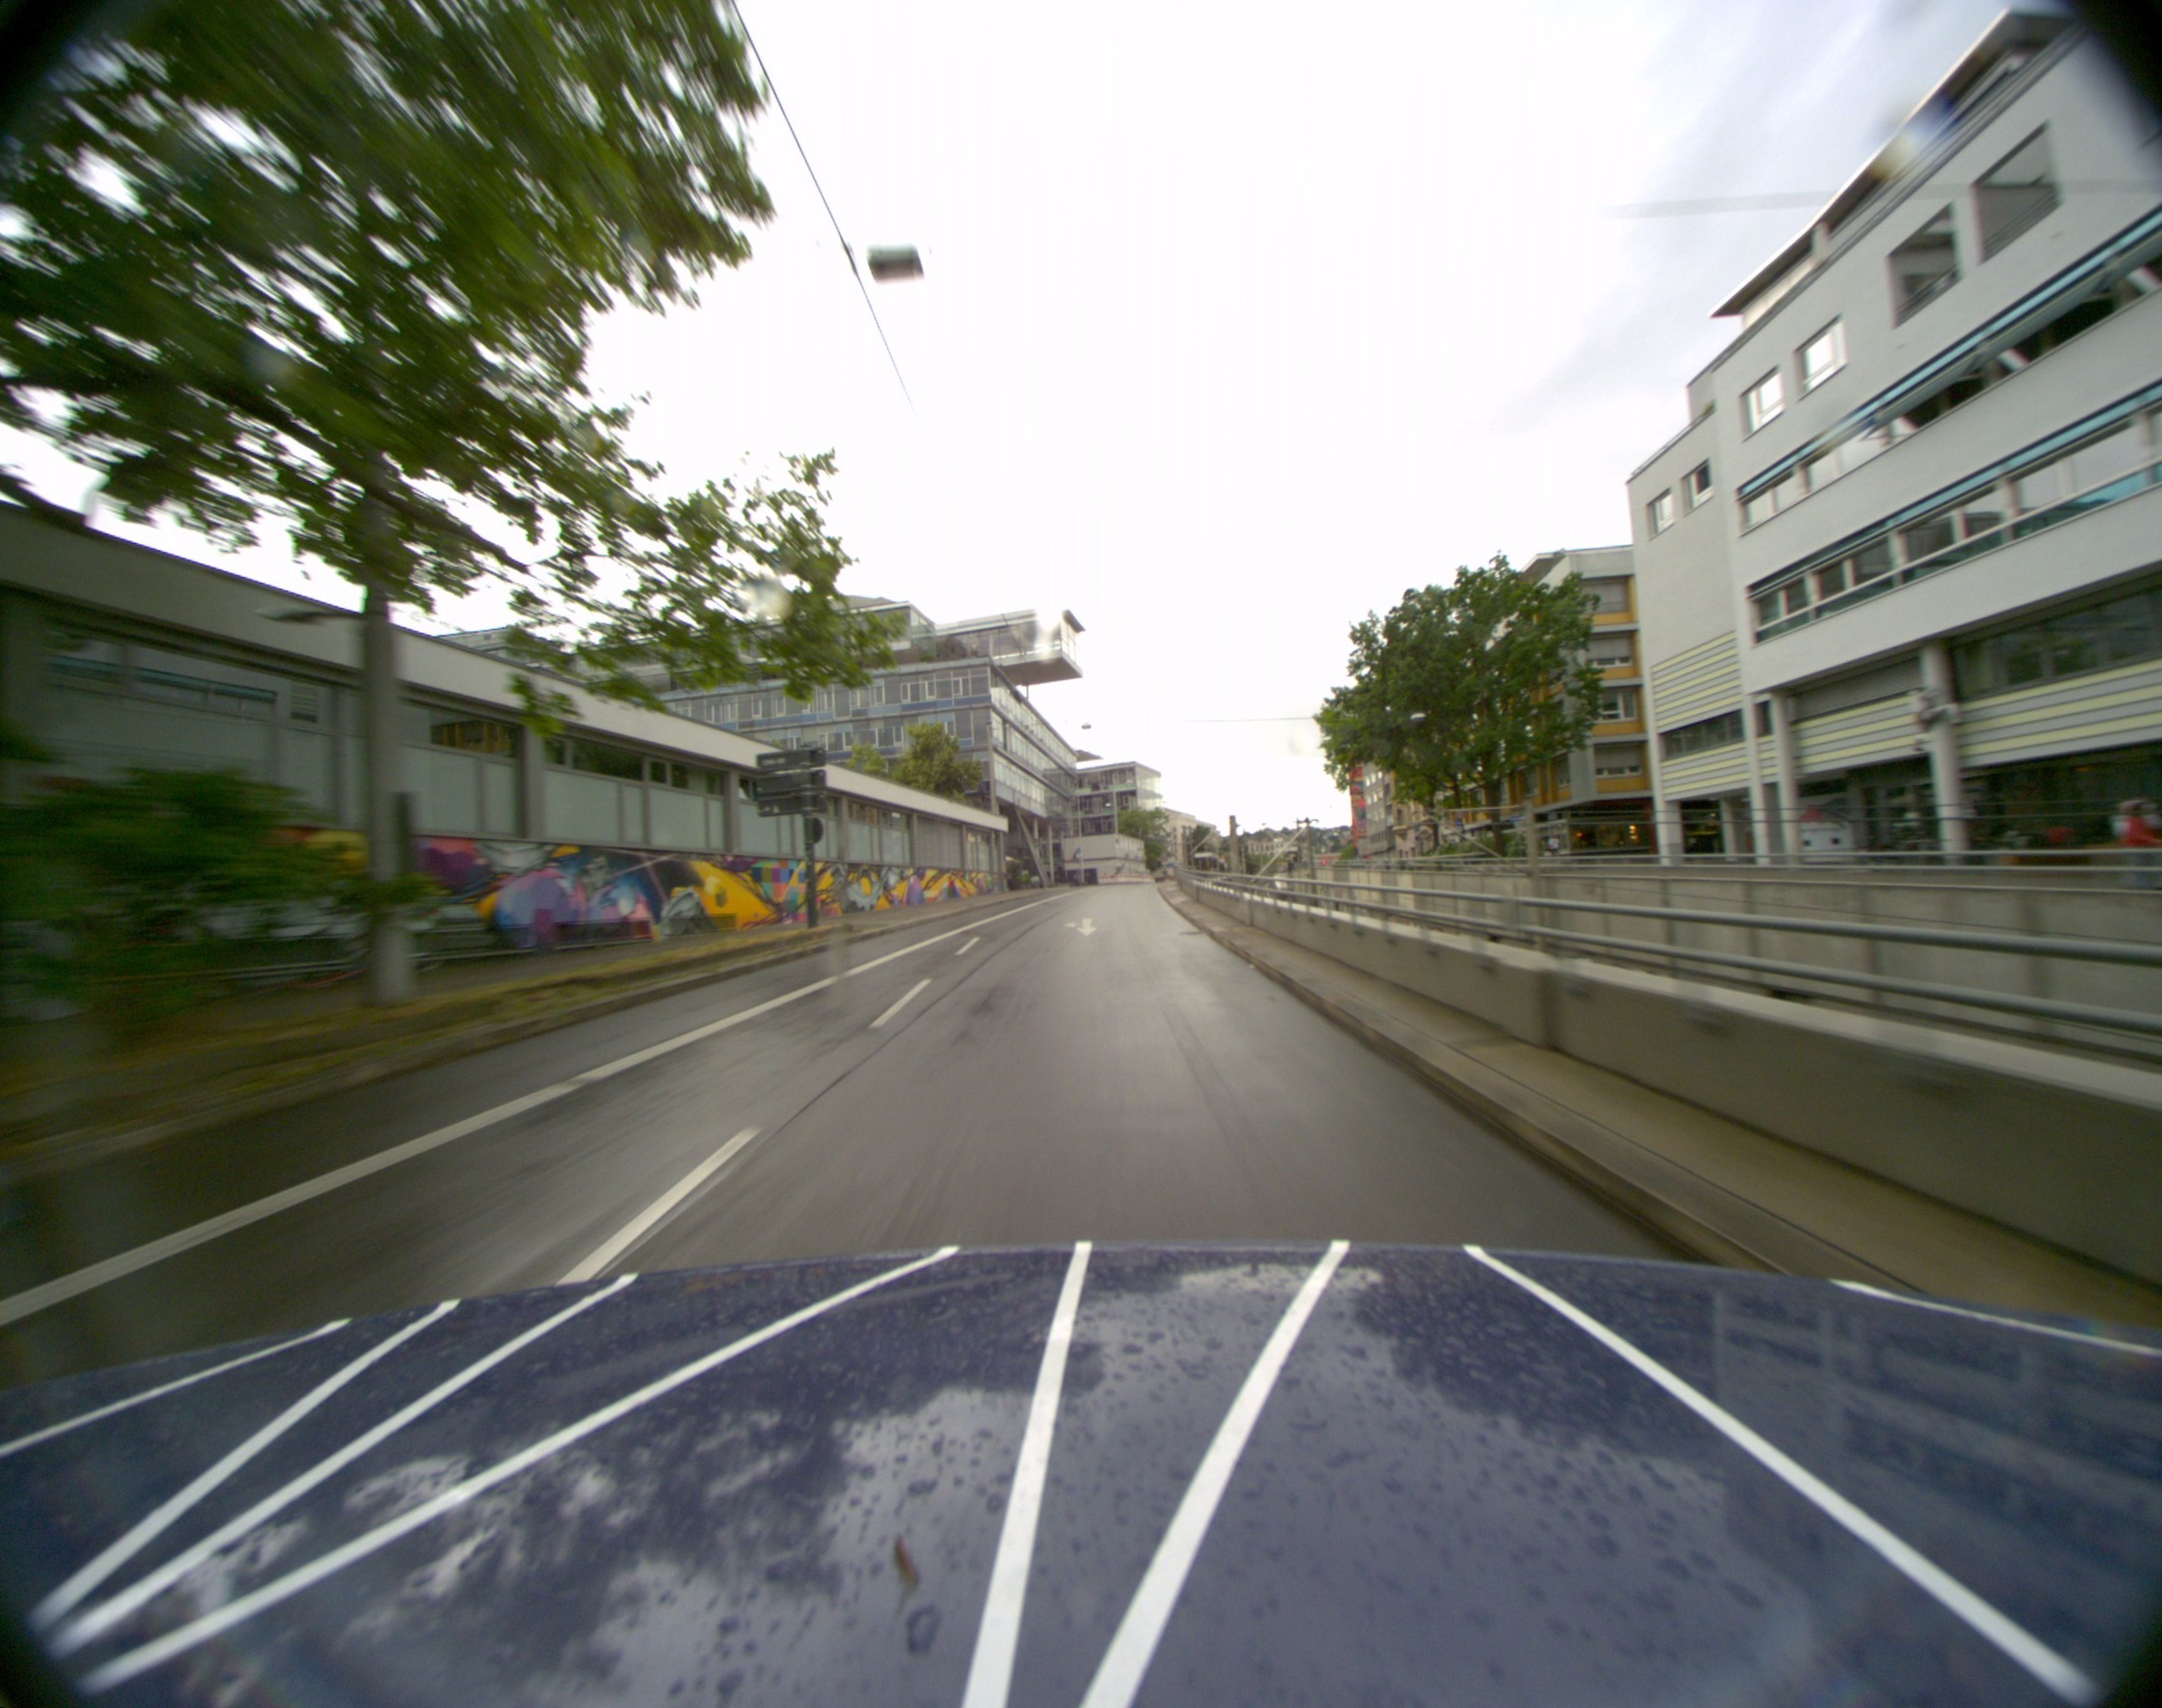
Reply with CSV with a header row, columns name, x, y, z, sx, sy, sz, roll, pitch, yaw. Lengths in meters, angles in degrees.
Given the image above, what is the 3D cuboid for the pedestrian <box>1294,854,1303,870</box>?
name,x,y,z,sx,sy,sz,roll,pitch,yaw
pedestrian,23.739,0.881,83.000,0.772,1.639,0.779,2,0,20

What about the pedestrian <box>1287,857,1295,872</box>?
name,x,y,z,sx,sy,sz,roll,pitch,yaw
pedestrian,22.737,1.132,82.215,0.678,1.639,0.897,1,-1,20

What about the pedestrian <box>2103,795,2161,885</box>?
name,x,y,z,sx,sy,sz,roll,pitch,yaw
pedestrian,21.397,-0.282,15.163,0.674,1.774,0.941,-3,-1,-15

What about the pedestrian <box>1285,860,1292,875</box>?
name,x,y,z,sx,sy,sz,roll,pitch,yaw
pedestrian,23.725,1.538,86.944,0.633,1.649,0.684,-4,-3,19

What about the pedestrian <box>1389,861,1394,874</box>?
name,x,y,z,sx,sy,sz,roll,pitch,yaw
pedestrian,38.559,1.681,94.317,0.422,1.671,0.609,-6,-3,27

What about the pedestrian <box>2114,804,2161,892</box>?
name,x,y,z,sx,sy,sz,roll,pitch,yaw
pedestrian,20.392,-0.131,14.413,0.675,1.633,0.793,-3,-1,-44

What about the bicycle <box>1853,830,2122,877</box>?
name,x,y,z,sx,sy,sz,roll,pitch,yaw
bicycle,22.967,0.003,19.588,1.696,1.037,4.523,-1,-1,4

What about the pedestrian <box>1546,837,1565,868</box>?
name,x,y,z,sx,sy,sz,roll,pitch,yaw
pedestrian,28.233,-0.065,45.227,0.666,1.838,0.831,-1,-1,9

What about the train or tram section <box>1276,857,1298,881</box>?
name,x,y,z,sx,sy,sz,roll,pitch,yaw
train or tram section,36.306,2.780,133.859,2.782,3.667,9.734,-5,-5,19

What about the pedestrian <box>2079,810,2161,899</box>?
name,x,y,z,sx,sy,sz,roll,pitch,yaw
pedestrian,19.636,0.011,14.194,0.674,1.606,0.941,-3,-1,-15
